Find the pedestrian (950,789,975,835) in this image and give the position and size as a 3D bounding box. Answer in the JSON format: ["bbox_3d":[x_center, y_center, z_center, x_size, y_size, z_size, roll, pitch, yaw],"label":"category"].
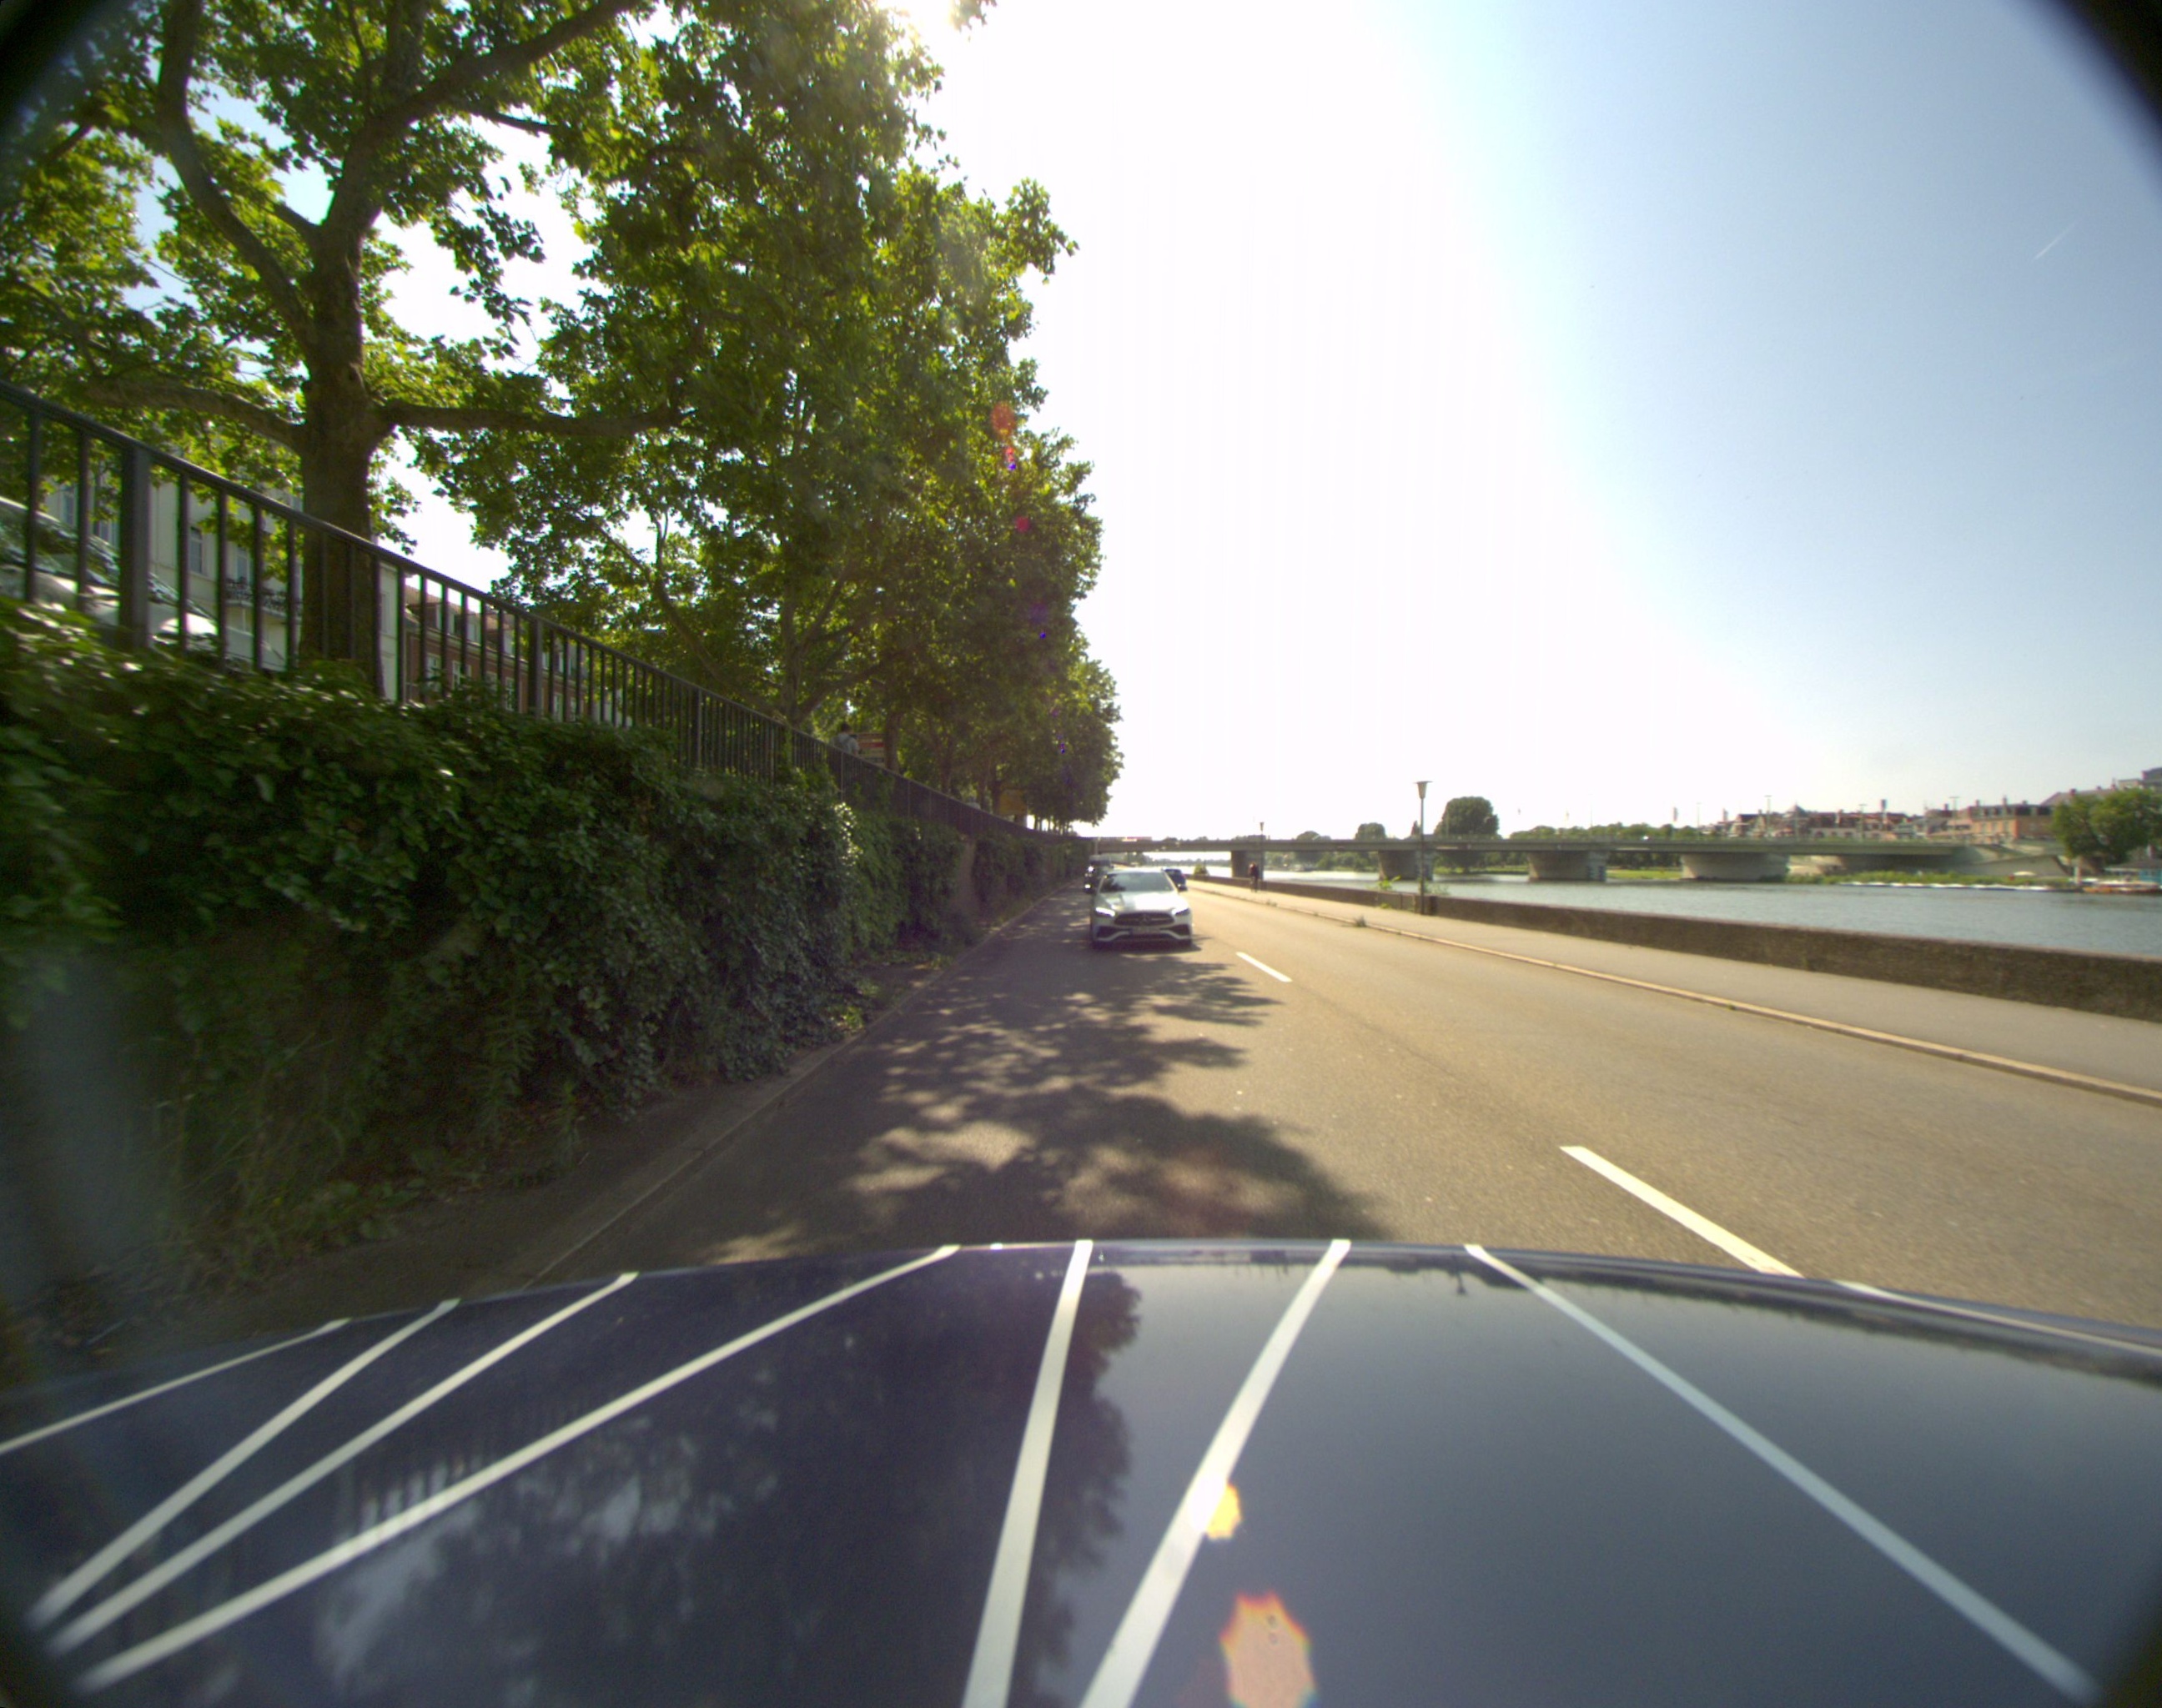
[{"bbox_3d":[-4.221,-1.471,27.109,0.738,1.582,0.811,1,0,0],"label":"pedestrian"}]

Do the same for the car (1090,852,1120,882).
[{"bbox_3d":[1.985,1.044,64.111,2.351,2.428,6.209,0,0,0],"label":"car"}]

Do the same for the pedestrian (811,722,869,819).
[{"bbox_3d":[-4.187,-1.431,13.251,0.738,1.582,0.811,1,0,0],"label":"pedestrian"}]

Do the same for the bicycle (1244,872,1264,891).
[{"bbox_3d":[9.439,1.513,41.421,0.654,0.977,1.944,-1,0,1],"label":"bicycle"}]

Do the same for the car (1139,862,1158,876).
[{"bbox_3d":[7.096,1.582,80.570,1.670,1.481,3.726,0,0,0],"label":"car"}]

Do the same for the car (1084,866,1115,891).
[{"bbox_3d":[1.046,1.444,45.352,1.756,1.384,4.619,0,0,0],"label":"car"}]

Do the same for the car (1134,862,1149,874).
[{"bbox_3d":[8.017,1.891,100.969,1.733,1.564,4.000,0,0,1],"label":"car"}]

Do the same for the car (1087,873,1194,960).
[{"bbox_3d":[1.063,1.128,15.364,1.830,1.411,4.553,-1,-1,1],"label":"car"}]

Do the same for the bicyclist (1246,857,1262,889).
[{"bbox_3d":[9.436,1.021,41.450,0.663,1.692,0.975,-1,0,1],"label":"bicyclist"}]

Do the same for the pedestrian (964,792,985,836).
[{"bbox_3d":[-3.916,-1.463,27.971,0.666,1.582,0.765,1,0,0],"label":"pedestrian"}]

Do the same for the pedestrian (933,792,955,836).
[{"bbox_3d":[-4.994,-1.447,27.721,0.666,1.582,0.651,1,0,0],"label":"pedestrian"}]

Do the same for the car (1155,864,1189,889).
[{"bbox_3d":[5.764,1.407,48.532,1.676,1.433,3.902,2,0,0],"label":"car"}]
